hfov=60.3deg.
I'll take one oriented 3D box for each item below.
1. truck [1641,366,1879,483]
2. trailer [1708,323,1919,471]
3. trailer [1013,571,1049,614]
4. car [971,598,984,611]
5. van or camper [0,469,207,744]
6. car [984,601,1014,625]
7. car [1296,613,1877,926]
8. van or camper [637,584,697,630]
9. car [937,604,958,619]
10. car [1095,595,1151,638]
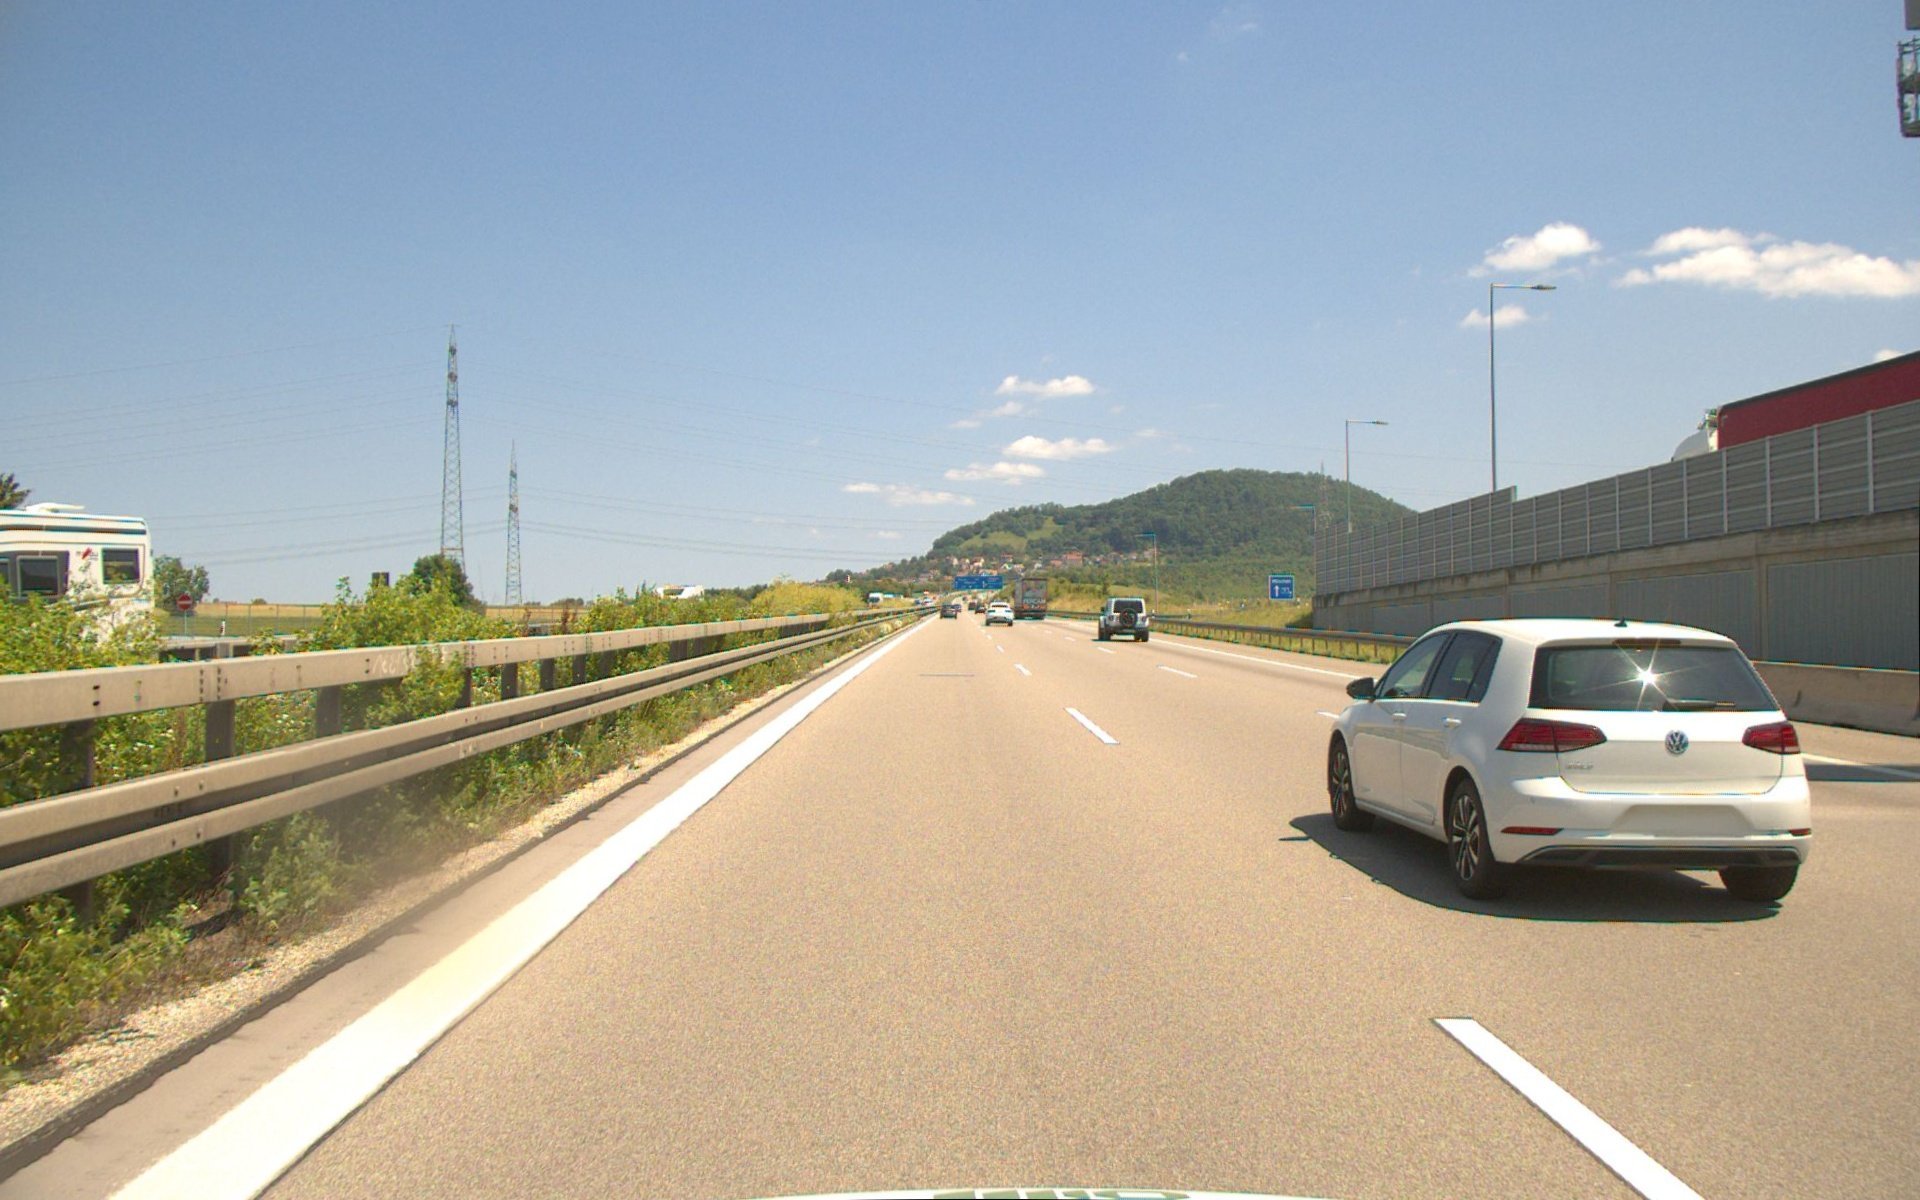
[{"bbox_3d":[21.295,-4.610,44.556,2.653,2.243,7.284,1,-1,-2],"label":"truck"},{"bbox_3d":[21.587,-4.688,37.216,2.665,2.263,14.014,1,-1,-2],"label":"trailer"},{"bbox_3d":[7.224,-0.689,169.919,2.670,4.228,11.802,1,-1,-2],"label":"trailer"},{"bbox_3d":[2.620,0.703,253.489,1.952,2.049,4.000,1,-1,0],"label":"car"},{"bbox_3d":[-12.868,0.117,21.877,2.472,3.324,7.373,-2,0,-1],"label":"van or camper"},{"bbox_3d":[2.700,0.899,115.995,1.875,1.608,5.230,1,-1,0],"label":"car"},{"bbox_3d":[3.461,0.830,10.210,1.740,1.458,4.690,1,-1,-1],"label":"car"},{"bbox_3d":[-17.332,0.471,98.206,2.484,2.580,6.707,0,-1,-1],"label":"van or camper"},{"bbox_3d":[-1.255,1.113,161.559,1.952,1.413,4.000,1,-1,0],"label":"car"},{"bbox_3d":[7.109,0.712,72.613,1.993,1.836,4.249,0,0,-1],"label":"car"}]
